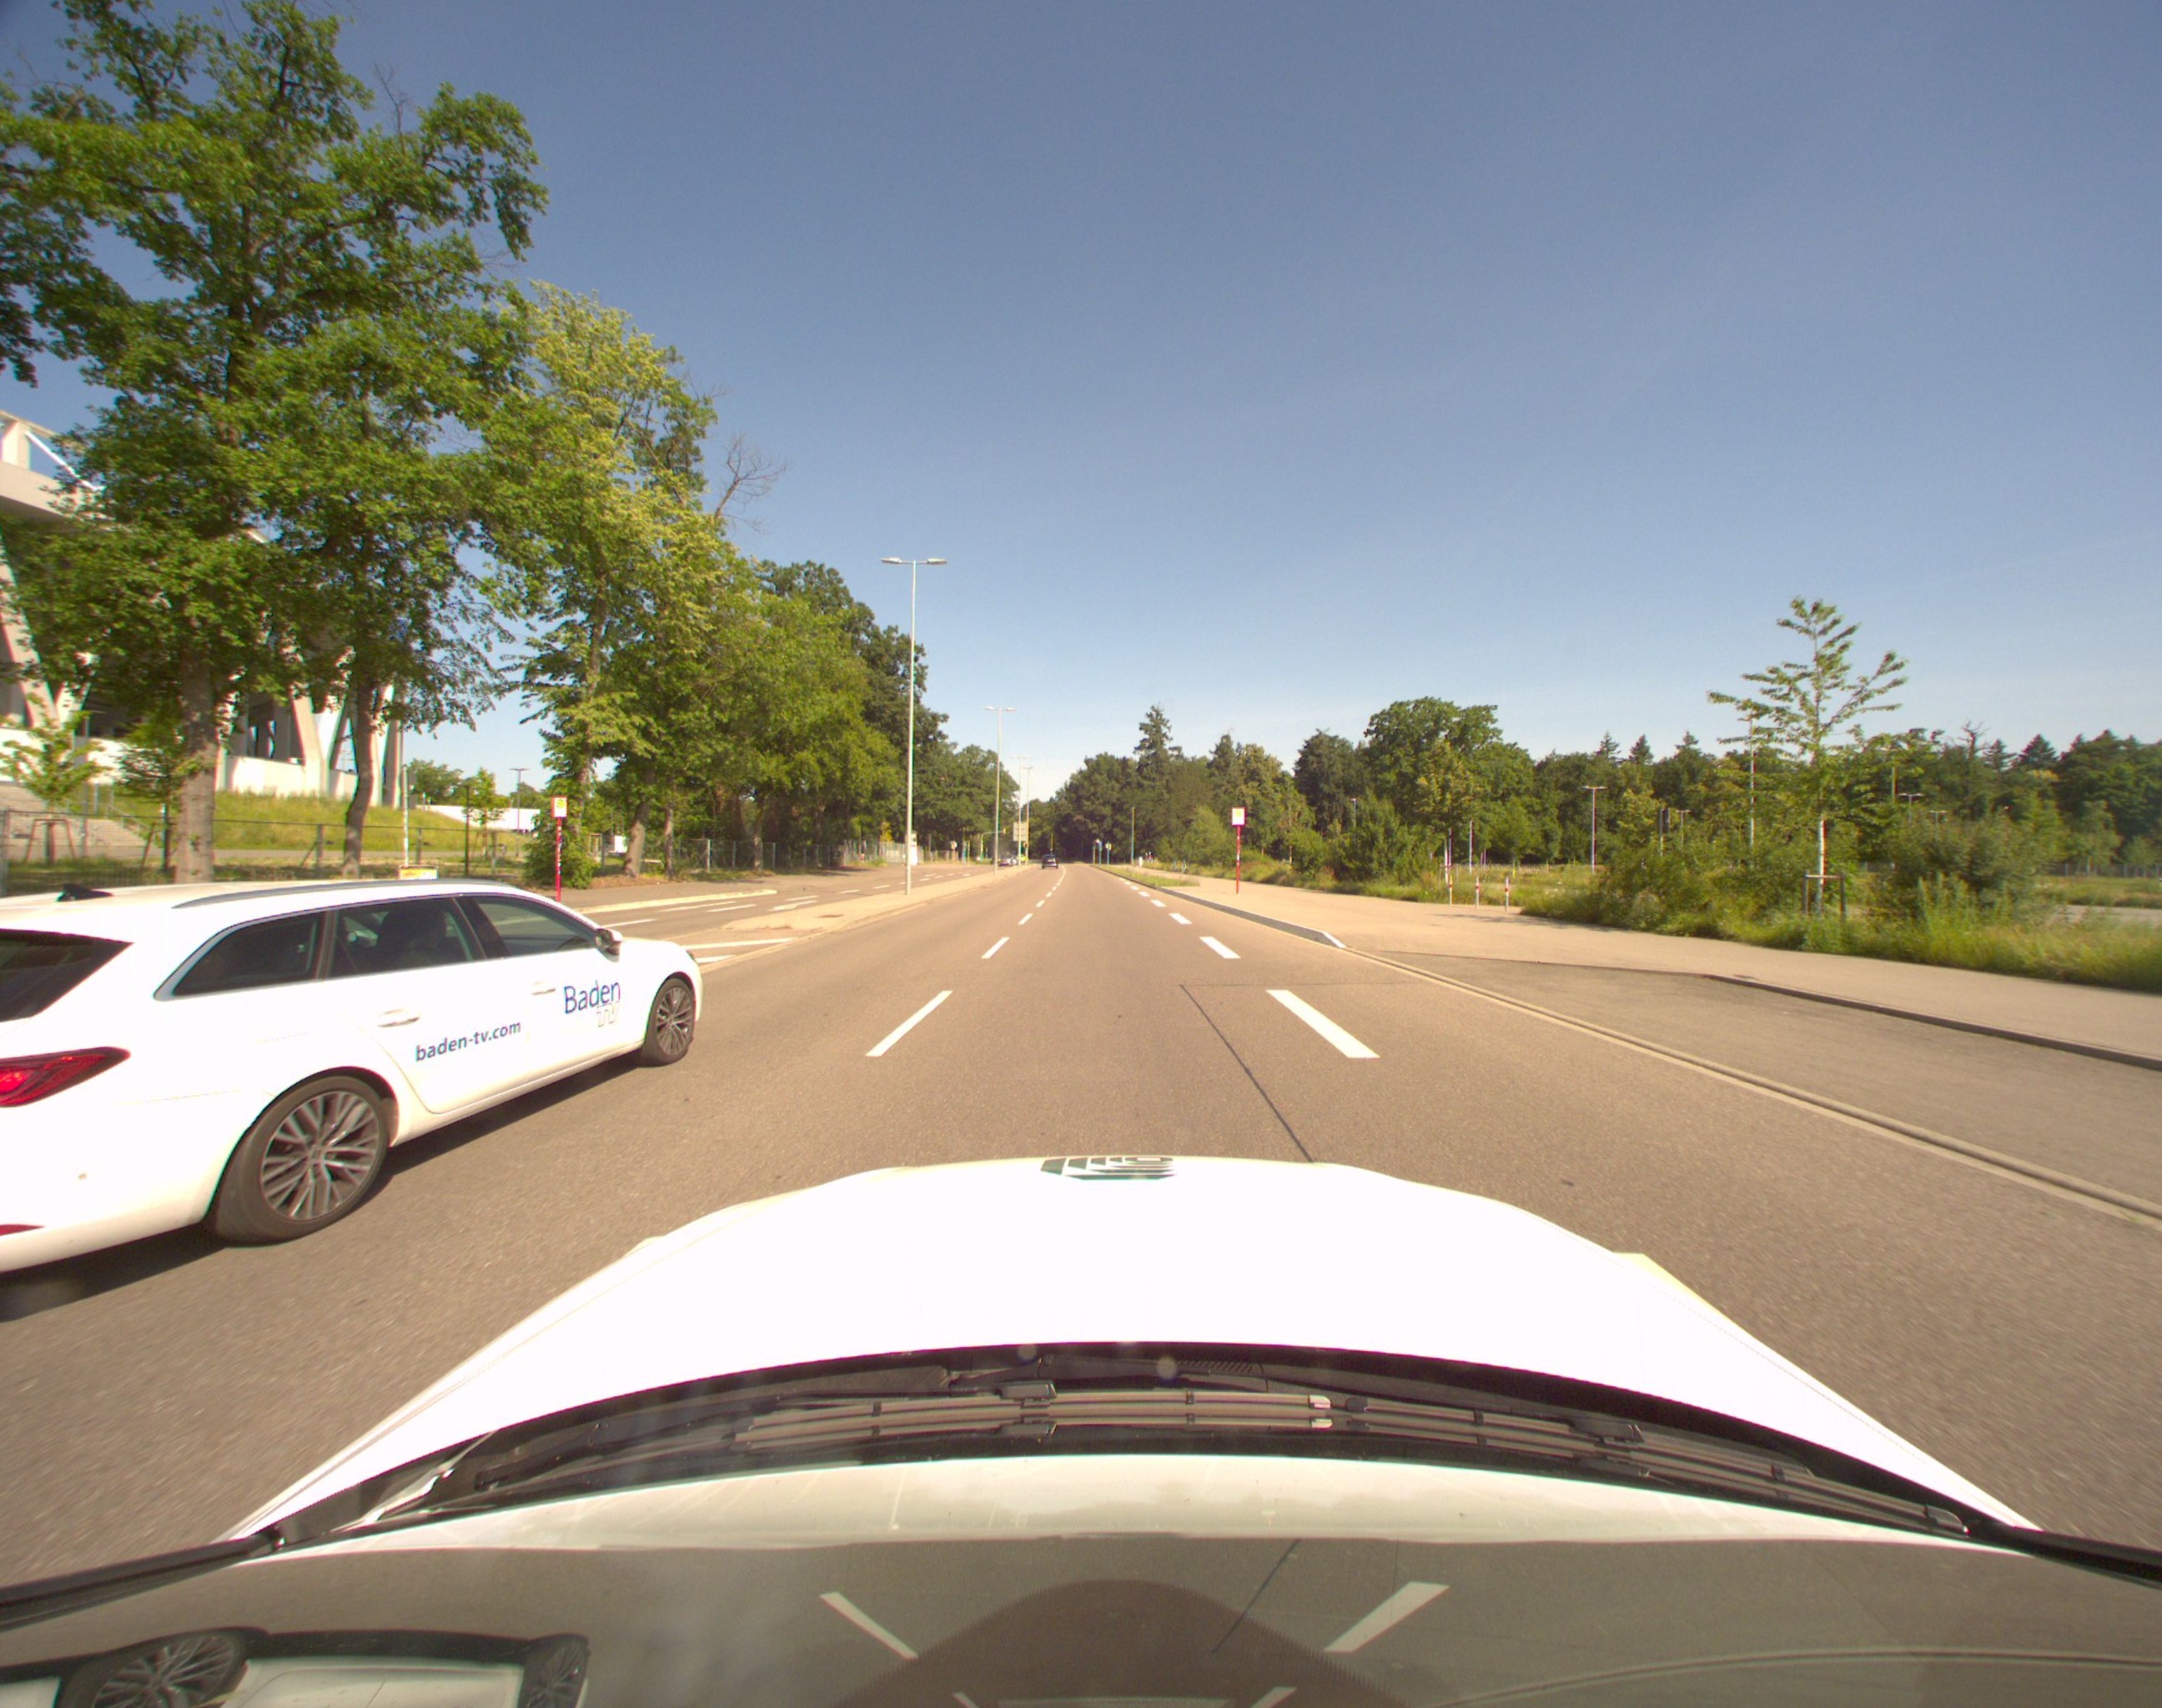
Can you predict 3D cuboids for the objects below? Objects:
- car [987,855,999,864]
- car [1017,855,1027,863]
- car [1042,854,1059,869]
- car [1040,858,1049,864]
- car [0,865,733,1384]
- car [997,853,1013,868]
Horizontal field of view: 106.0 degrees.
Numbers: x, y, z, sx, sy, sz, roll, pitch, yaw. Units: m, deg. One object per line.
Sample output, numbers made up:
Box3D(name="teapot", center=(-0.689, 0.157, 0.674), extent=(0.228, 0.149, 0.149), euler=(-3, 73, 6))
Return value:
Box3D(name="car", center=(-14.848, 0.869, 137.202), extent=(1.790, 1.478, 3.996), euler=(1, 0, -3))
Box3D(name="car", center=(-11.703, 1.037, 162.769), extent=(1.842, 1.618, 3.995), euler=(1, 0, -3))
Box3D(name="car", center=(-3.448, 0.827, 91.308), extent=(1.685, 1.544, 4.142), euler=(0, 0, -5))
Box3D(name="car", center=(-8.896, 1.663, 197.206), extent=(1.937, 1.420, 4.287), euler=(1, 0, -4))
Box3D(name="car", center=(-3.912, 0.819, 4.599), extent=(1.718, 1.427, 4.722), euler=(0, 0, 2))
Box3D(name="car", center=(-10.401, 0.864, 112.291), extent=(1.836, 1.932, 4.626), euler=(0, 0, -1))
